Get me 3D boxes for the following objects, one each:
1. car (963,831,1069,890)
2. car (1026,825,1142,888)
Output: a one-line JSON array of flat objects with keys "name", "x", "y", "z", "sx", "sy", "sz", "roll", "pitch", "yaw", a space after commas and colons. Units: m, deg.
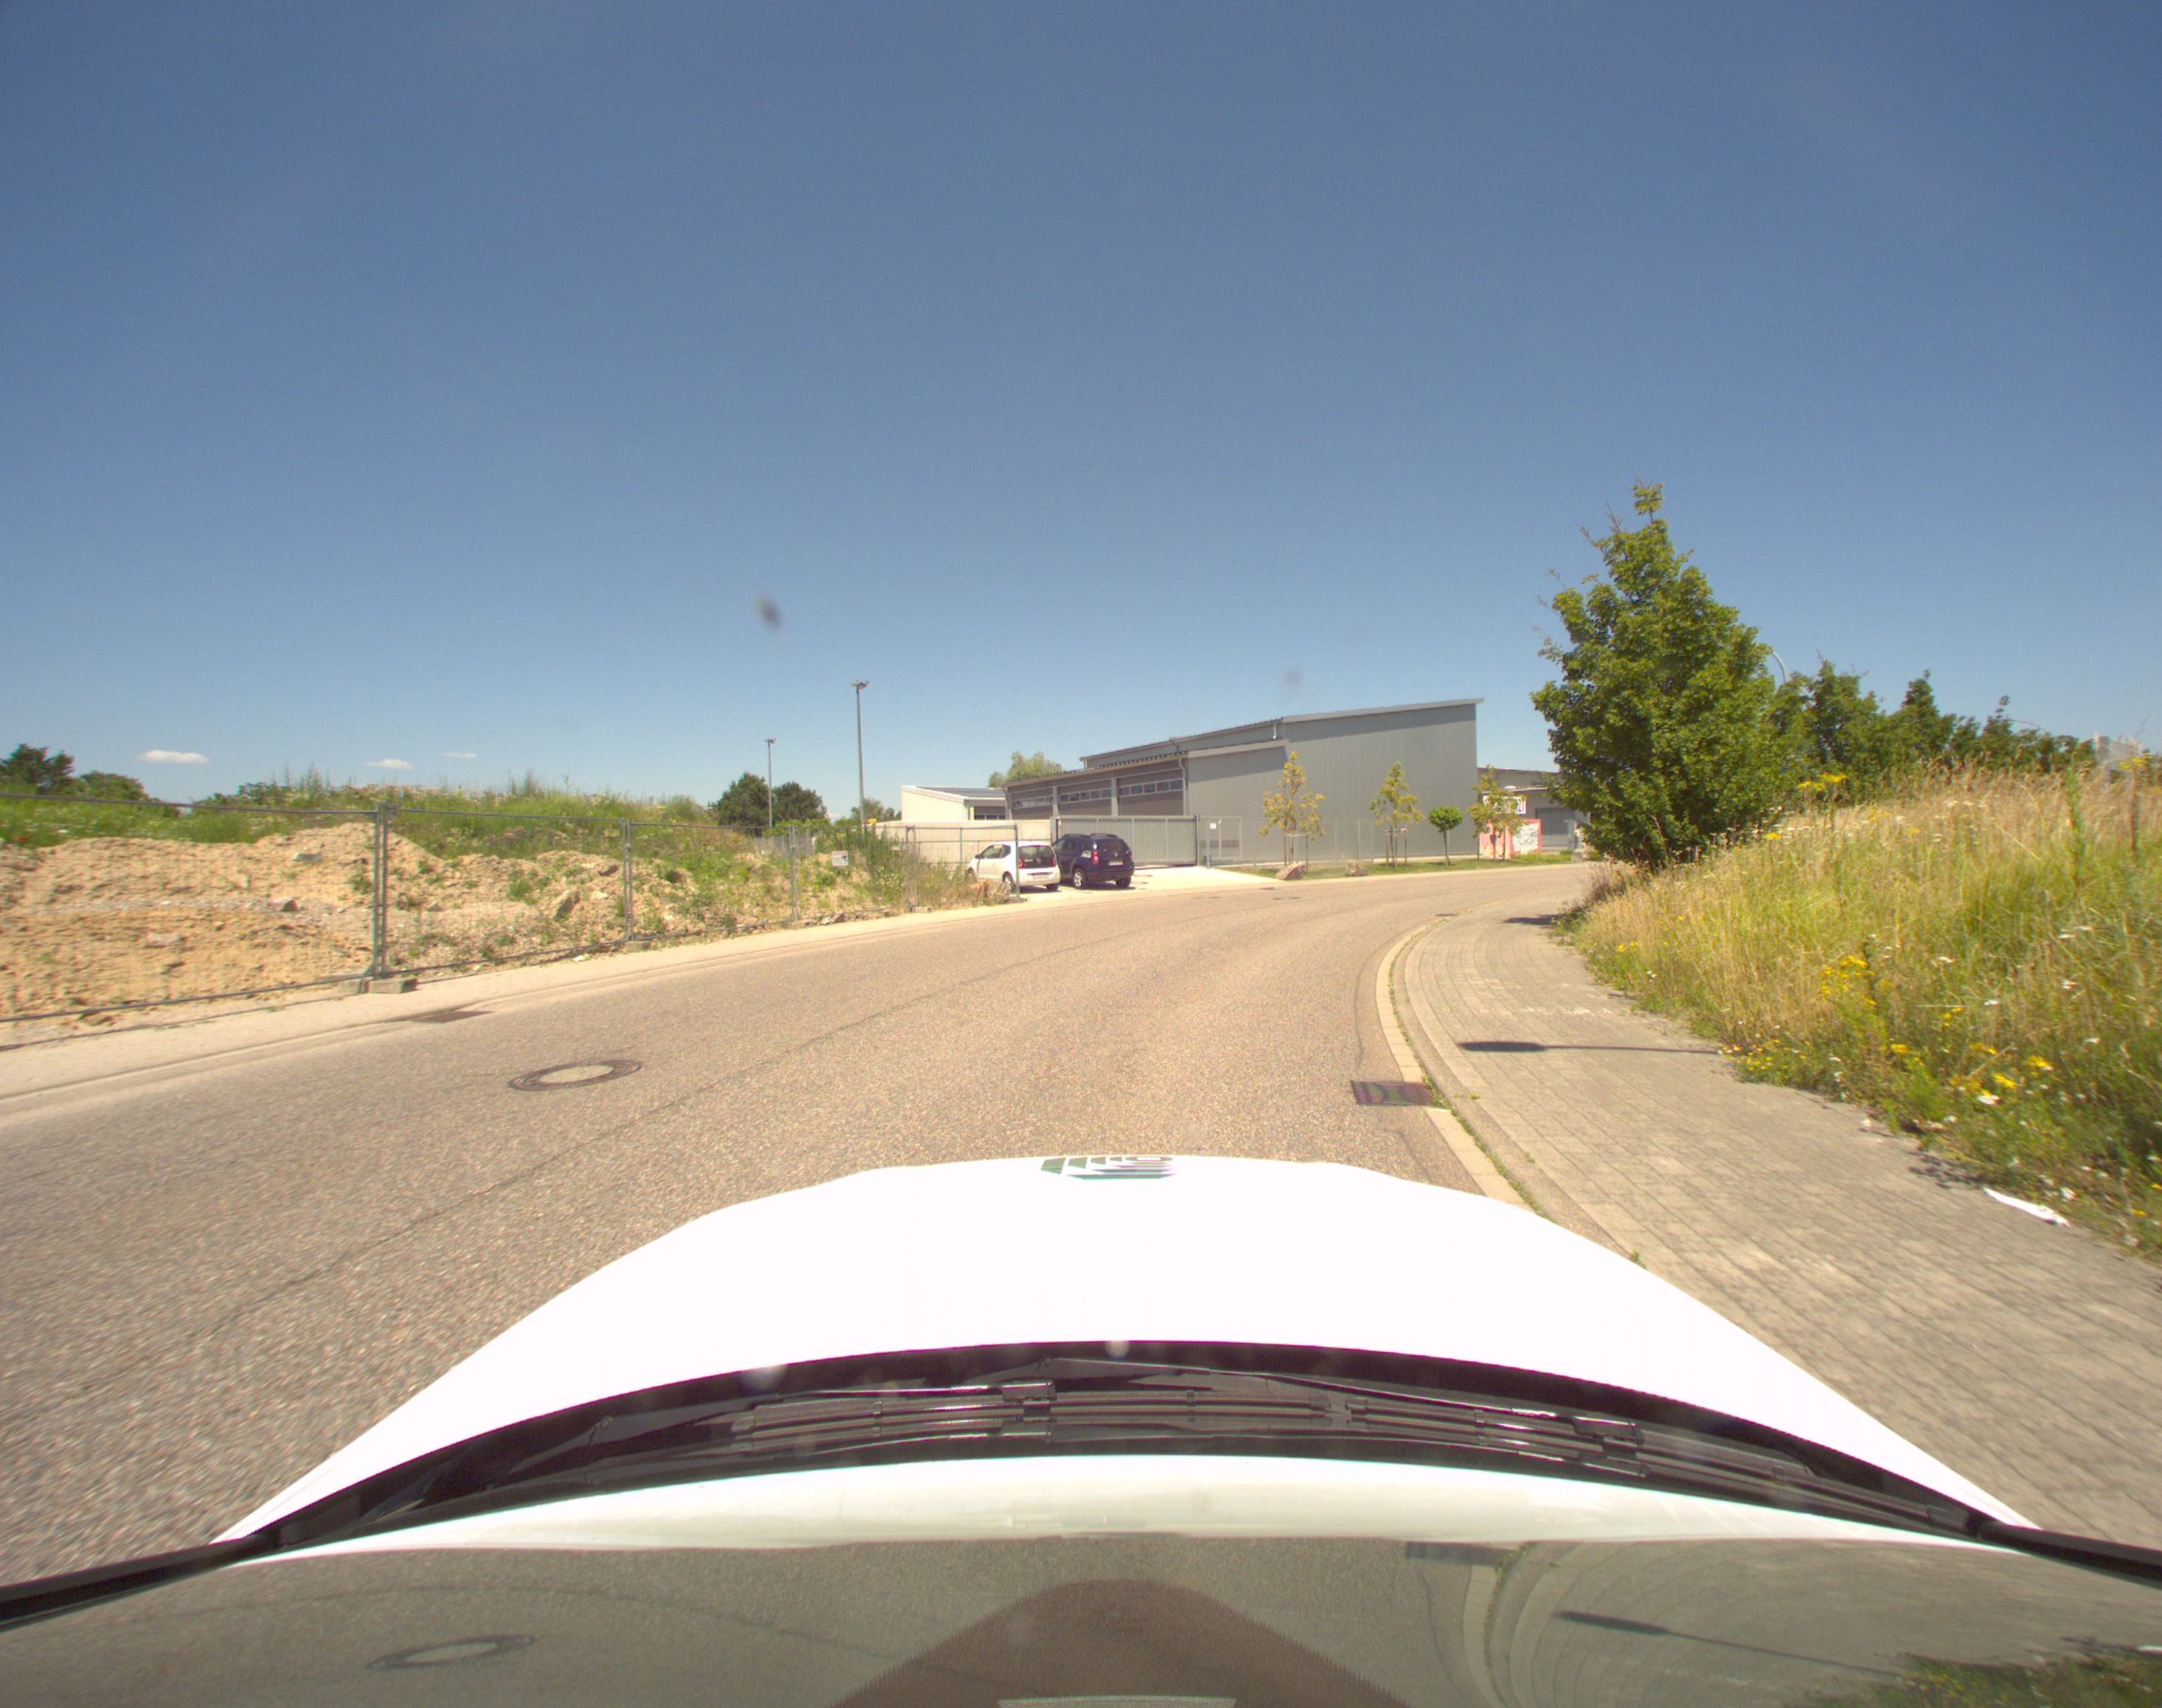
[{"name": "car", "x": -2.035, "y": 0.132, "z": 24.730, "sx": 1.789, "sy": 1.461, "sz": 3.338, "roll": -1, "pitch": 5, "yaw": -34}, {"name": "car", "x": 0.011, "y": 0.001, "z": 26.233, "sx": 1.788, "sy": 1.658, "sz": 4.136, "roll": -1, "pitch": 5, "yaw": -32}]
